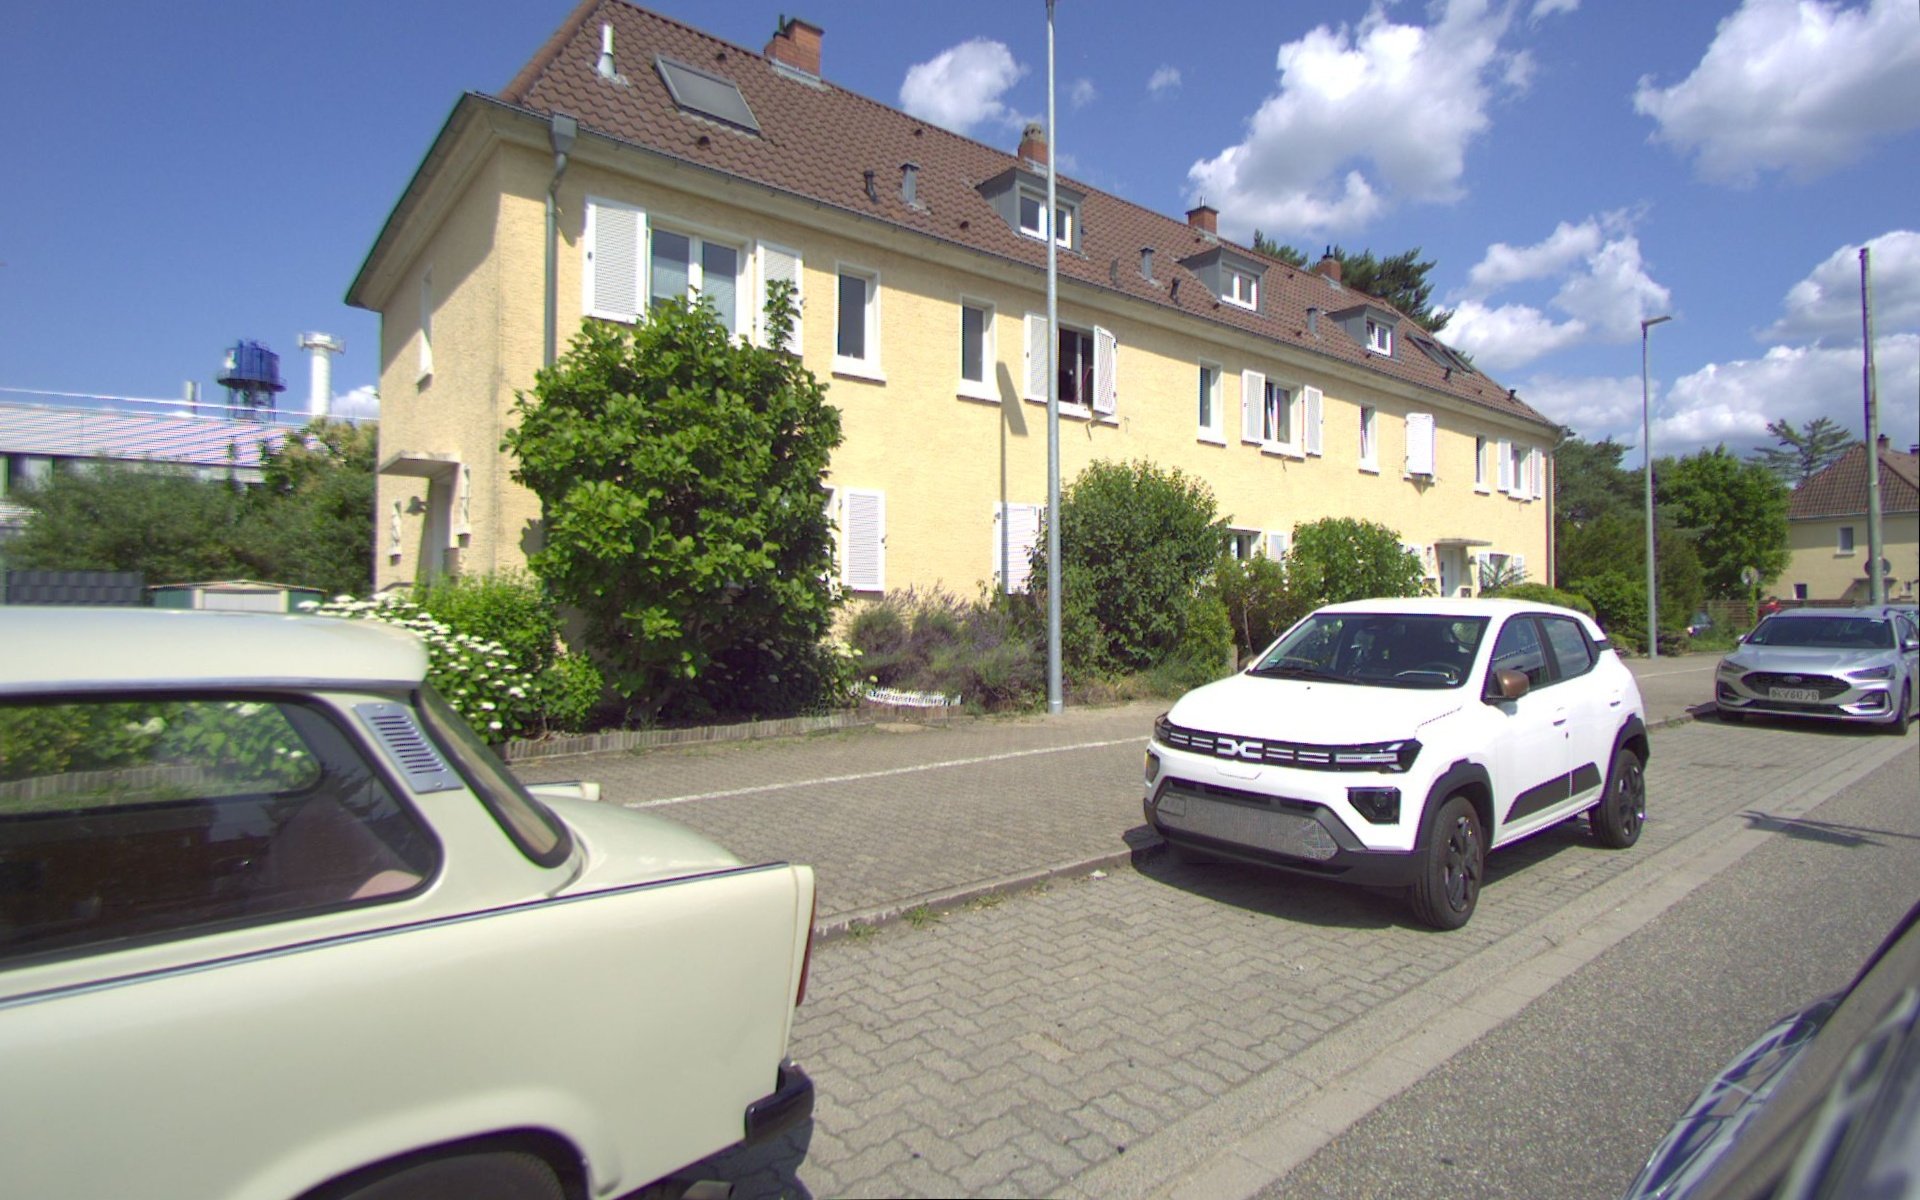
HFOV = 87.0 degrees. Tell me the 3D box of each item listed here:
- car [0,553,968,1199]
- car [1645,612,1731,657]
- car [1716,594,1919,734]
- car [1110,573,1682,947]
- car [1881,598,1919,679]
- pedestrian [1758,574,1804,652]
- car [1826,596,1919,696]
[{"bbox_3d":[-1.961,0.694,1.578,4.039,1.521,1.465,0,0,-42],"label":"car"},{"bbox_3d":[27.528,1.266,38.236,3.739,1.567,1.632,0,-1,-38],"label":"car"},{"bbox_3d":[11.437,0.716,13.054,4.306,1.517,1.753,1,0,-40],"label":"car"},{"bbox_3d":[2.696,0.644,5.856,3.741,1.500,1.531,0,0,-40],"label":"car"},{"bbox_3d":[19.881,0.749,20.149,4.178,1.523,1.711,1,0,-39],"label":"car"},{"bbox_3d":[21.750,0.339,26.810,0.747,2.039,0.774,1,-1,-38],"label":"pedestrian"},{"bbox_3d":[16.292,0.724,17.264,3.740,1.570,1.632,0,0,-39],"label":"car"}]
